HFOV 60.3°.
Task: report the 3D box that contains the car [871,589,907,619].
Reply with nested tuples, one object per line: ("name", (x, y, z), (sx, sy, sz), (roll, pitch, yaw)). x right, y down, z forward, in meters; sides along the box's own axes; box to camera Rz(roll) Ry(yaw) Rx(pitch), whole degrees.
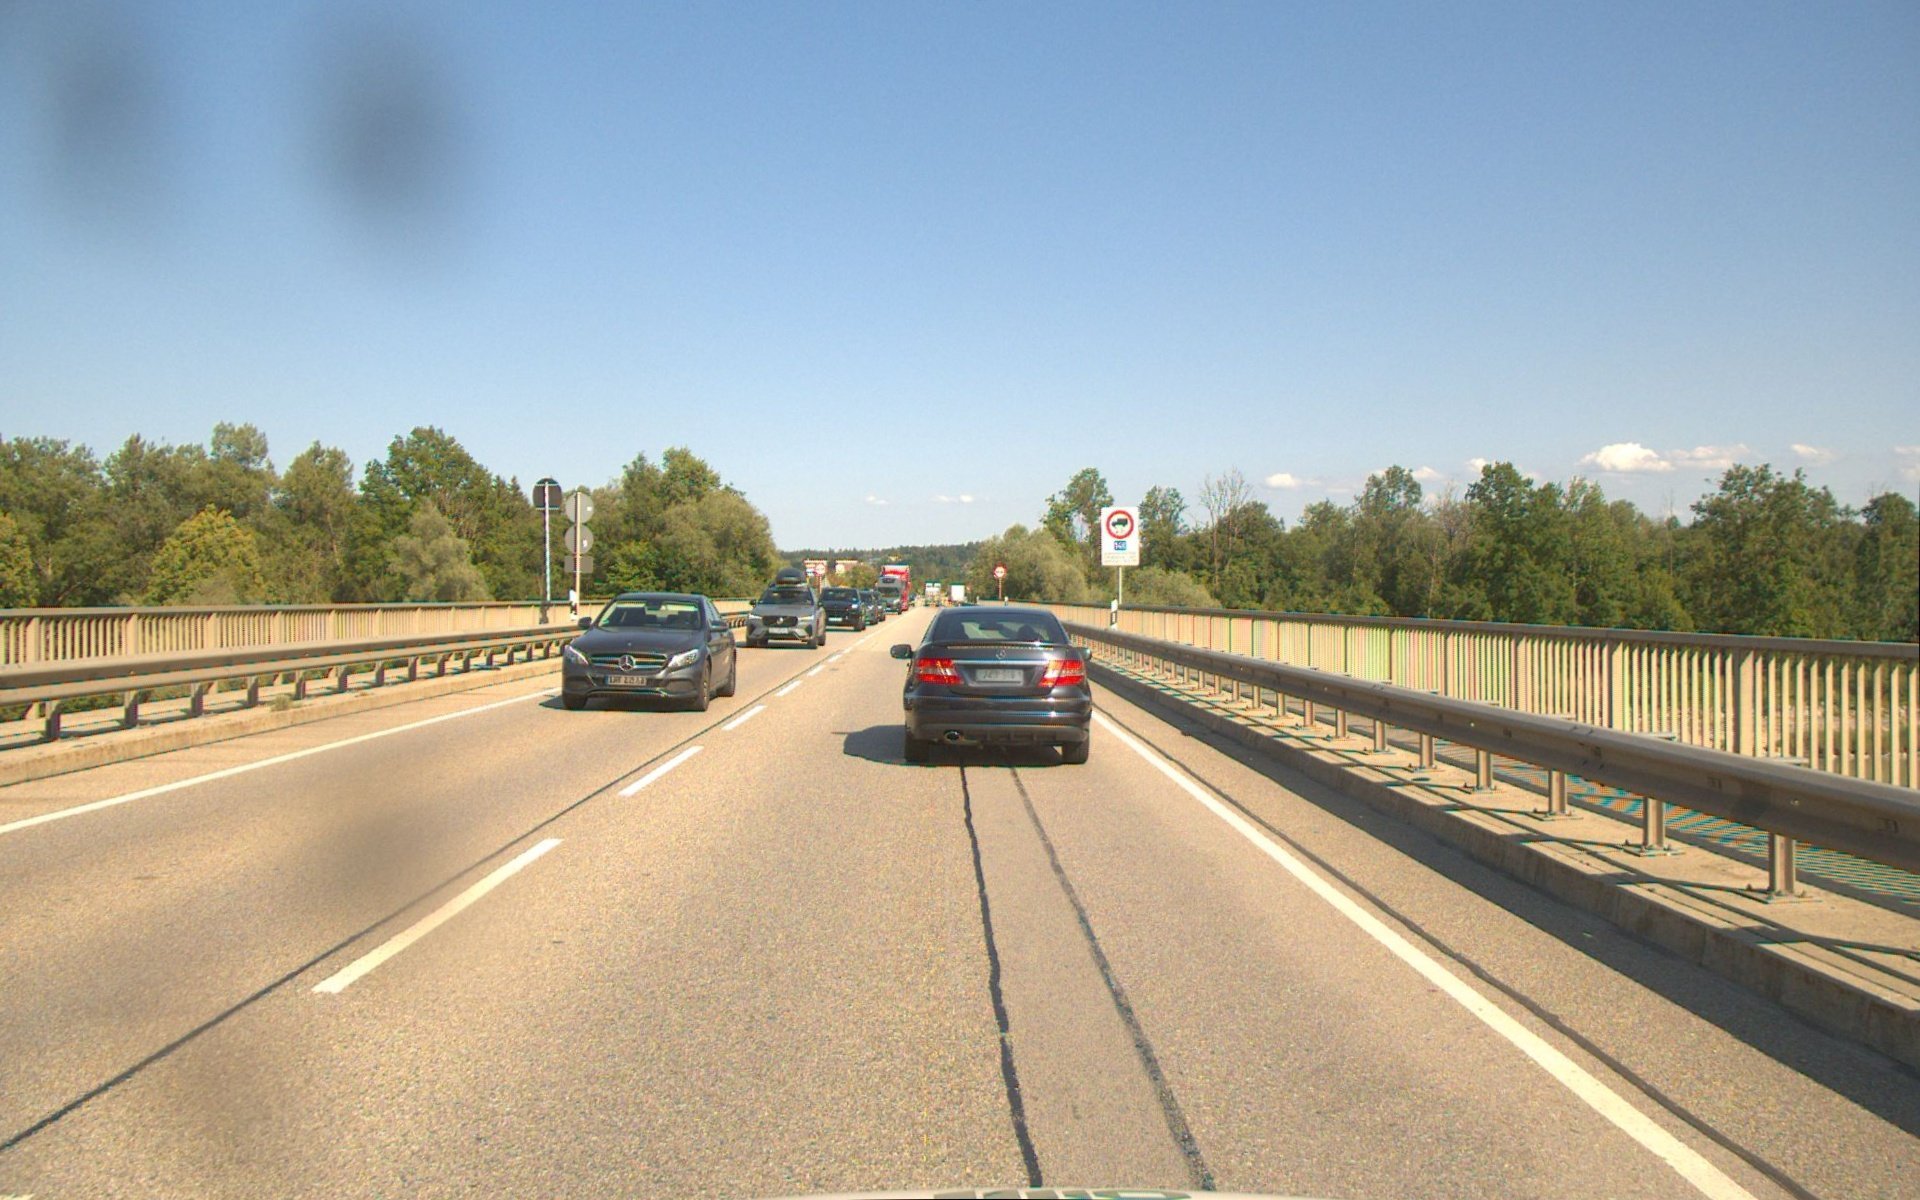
("car", (-3.944, 0.199, 91.465), (1.837, 1.611, 4.270), (0, 0, -4))

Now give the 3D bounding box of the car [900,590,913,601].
("car", (-8.233, -0.735, 253.561), (1.804, 1.670, 4.576), (-2, 0, -1))

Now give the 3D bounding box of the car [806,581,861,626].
("car", (-4.964, 0.115, 65.587), (2.012, 1.681, 4.719), (1, 0, -3))

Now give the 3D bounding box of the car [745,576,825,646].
("car", (-4.739, 0.259, 45.286), (1.817, 1.752, 4.564), (2, 1, -2))

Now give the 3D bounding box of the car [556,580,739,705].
("car", (-4.025, 0.496, 21.977), (1.730, 1.472, 4.454), (1, 0, -2))

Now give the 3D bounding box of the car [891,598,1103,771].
("car", (0.317, 0.704, 15.869), (1.756, 1.400, 4.000), (1, 0, 0))

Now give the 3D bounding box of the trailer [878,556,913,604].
("trailer", (-6.321, -1.942, 159.491), (2.850, 4.377, 14.290), (1, 0, -4))

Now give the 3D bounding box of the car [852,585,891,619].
("car", (-4.323, 0.082, 80.249), (1.771, 1.605, 4.197), (1, 0, -4))

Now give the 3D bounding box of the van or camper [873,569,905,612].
("van or camper", (-5.399, -0.725, 125.492), (2.269, 3.104, 6.814), (2, 0, -2))

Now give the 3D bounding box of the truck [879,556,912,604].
("truck", (-5.874, -1.821, 151.569), (2.849, 4.257, 5.711), (1, 0, -2))
